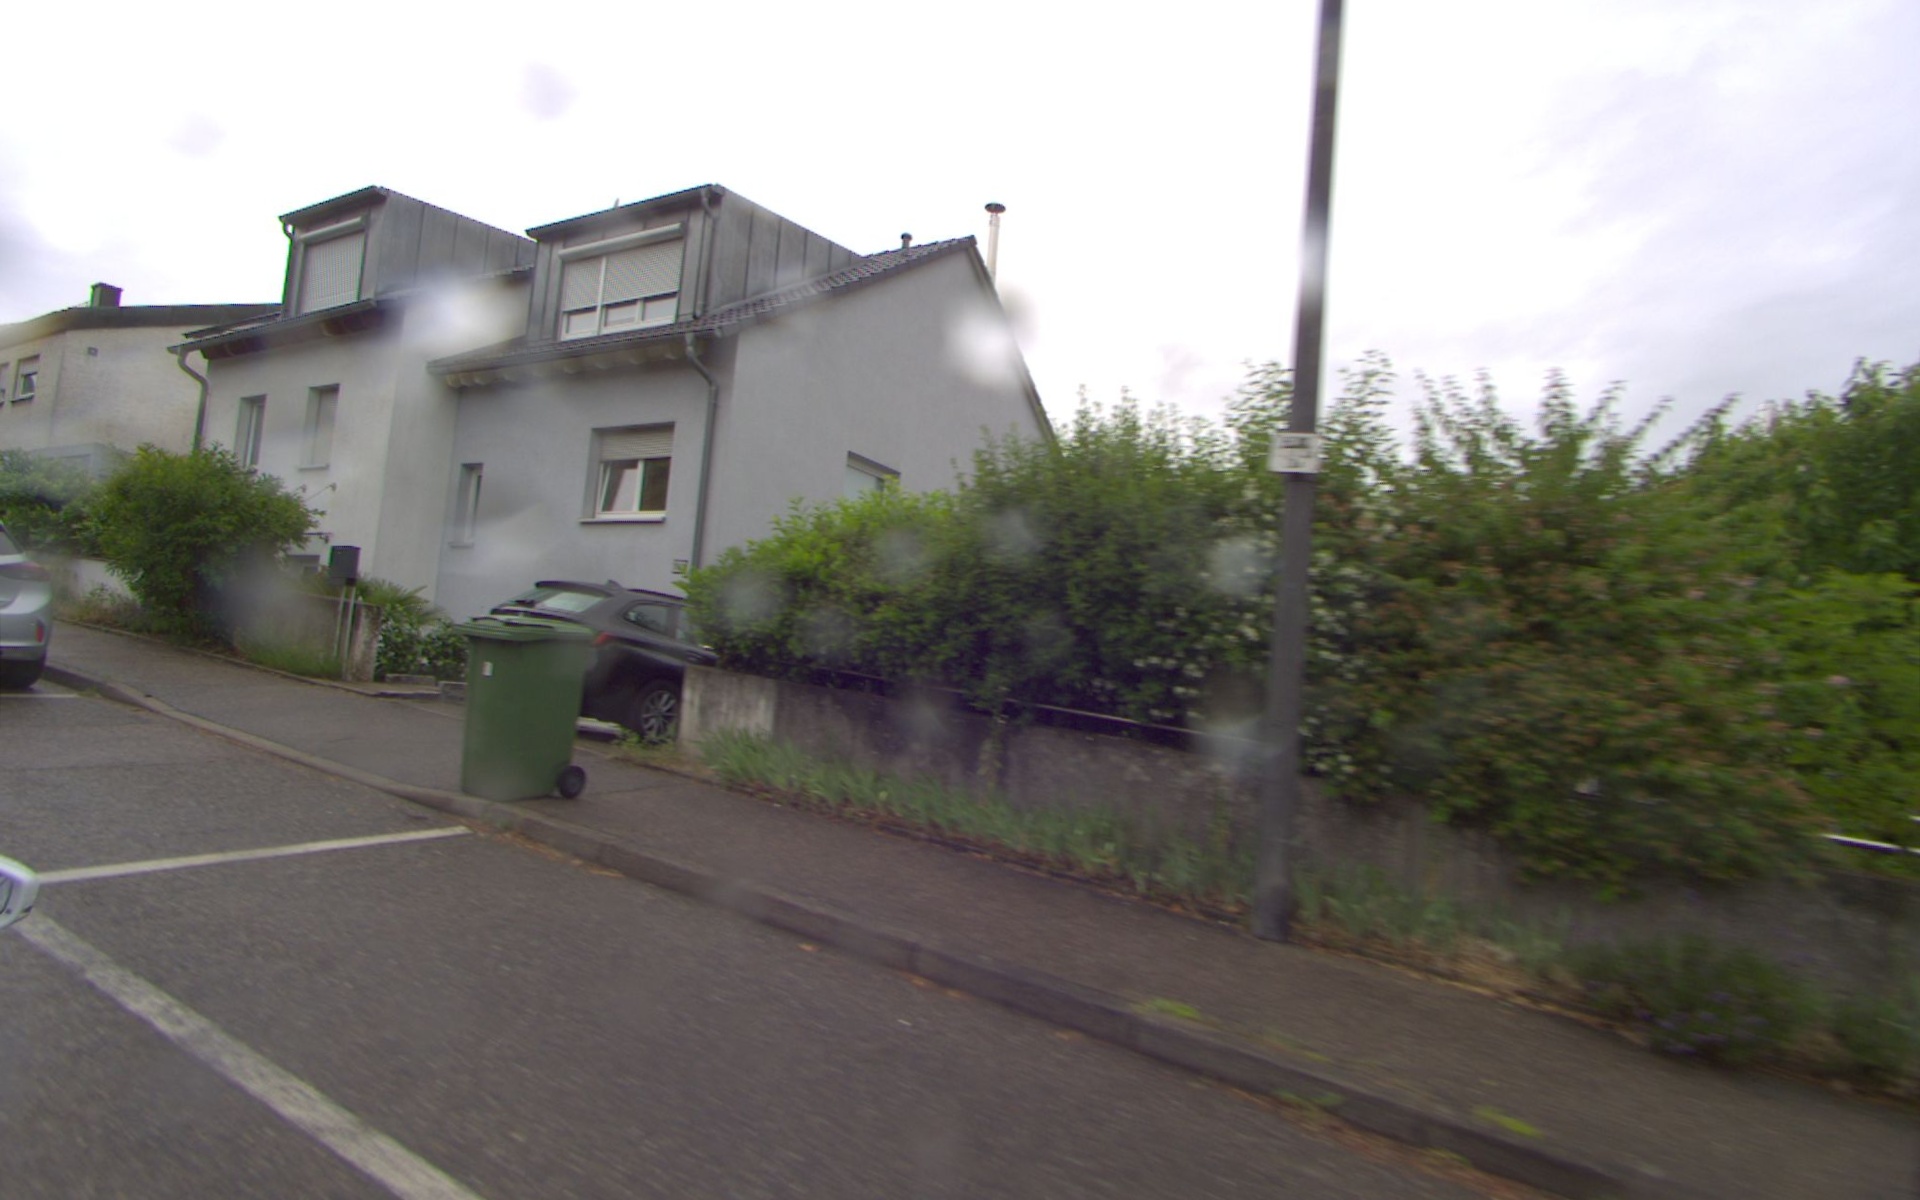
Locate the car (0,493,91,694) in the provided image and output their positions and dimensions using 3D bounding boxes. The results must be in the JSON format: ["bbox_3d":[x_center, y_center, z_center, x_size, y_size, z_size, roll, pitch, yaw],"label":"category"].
[{"bbox_3d":[-9.112,-0.286,8.148,4.162,1.485,1.771,7,0,30],"label":"car"}]

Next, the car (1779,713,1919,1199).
[{"bbox_3d":[3.824,1.244,0.516,4.980,1.546,1.860,7,0,32],"label":"car"}]

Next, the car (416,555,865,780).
[{"bbox_3d":[-2.994,0.828,10.356,1.966,1.453,4.011,7,-9,29],"label":"car"}]

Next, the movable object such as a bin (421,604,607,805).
[{"bbox_3d":[-2.713,0.625,6.146,0.634,1.080,0.677,7,-1,30],"label":"movable object such as a bin"}]

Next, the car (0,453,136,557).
[{"bbox_3d":[-18.491,-1.965,19.006,1.902,1.607,3.999,5,-4,29],"label":"car"}]
